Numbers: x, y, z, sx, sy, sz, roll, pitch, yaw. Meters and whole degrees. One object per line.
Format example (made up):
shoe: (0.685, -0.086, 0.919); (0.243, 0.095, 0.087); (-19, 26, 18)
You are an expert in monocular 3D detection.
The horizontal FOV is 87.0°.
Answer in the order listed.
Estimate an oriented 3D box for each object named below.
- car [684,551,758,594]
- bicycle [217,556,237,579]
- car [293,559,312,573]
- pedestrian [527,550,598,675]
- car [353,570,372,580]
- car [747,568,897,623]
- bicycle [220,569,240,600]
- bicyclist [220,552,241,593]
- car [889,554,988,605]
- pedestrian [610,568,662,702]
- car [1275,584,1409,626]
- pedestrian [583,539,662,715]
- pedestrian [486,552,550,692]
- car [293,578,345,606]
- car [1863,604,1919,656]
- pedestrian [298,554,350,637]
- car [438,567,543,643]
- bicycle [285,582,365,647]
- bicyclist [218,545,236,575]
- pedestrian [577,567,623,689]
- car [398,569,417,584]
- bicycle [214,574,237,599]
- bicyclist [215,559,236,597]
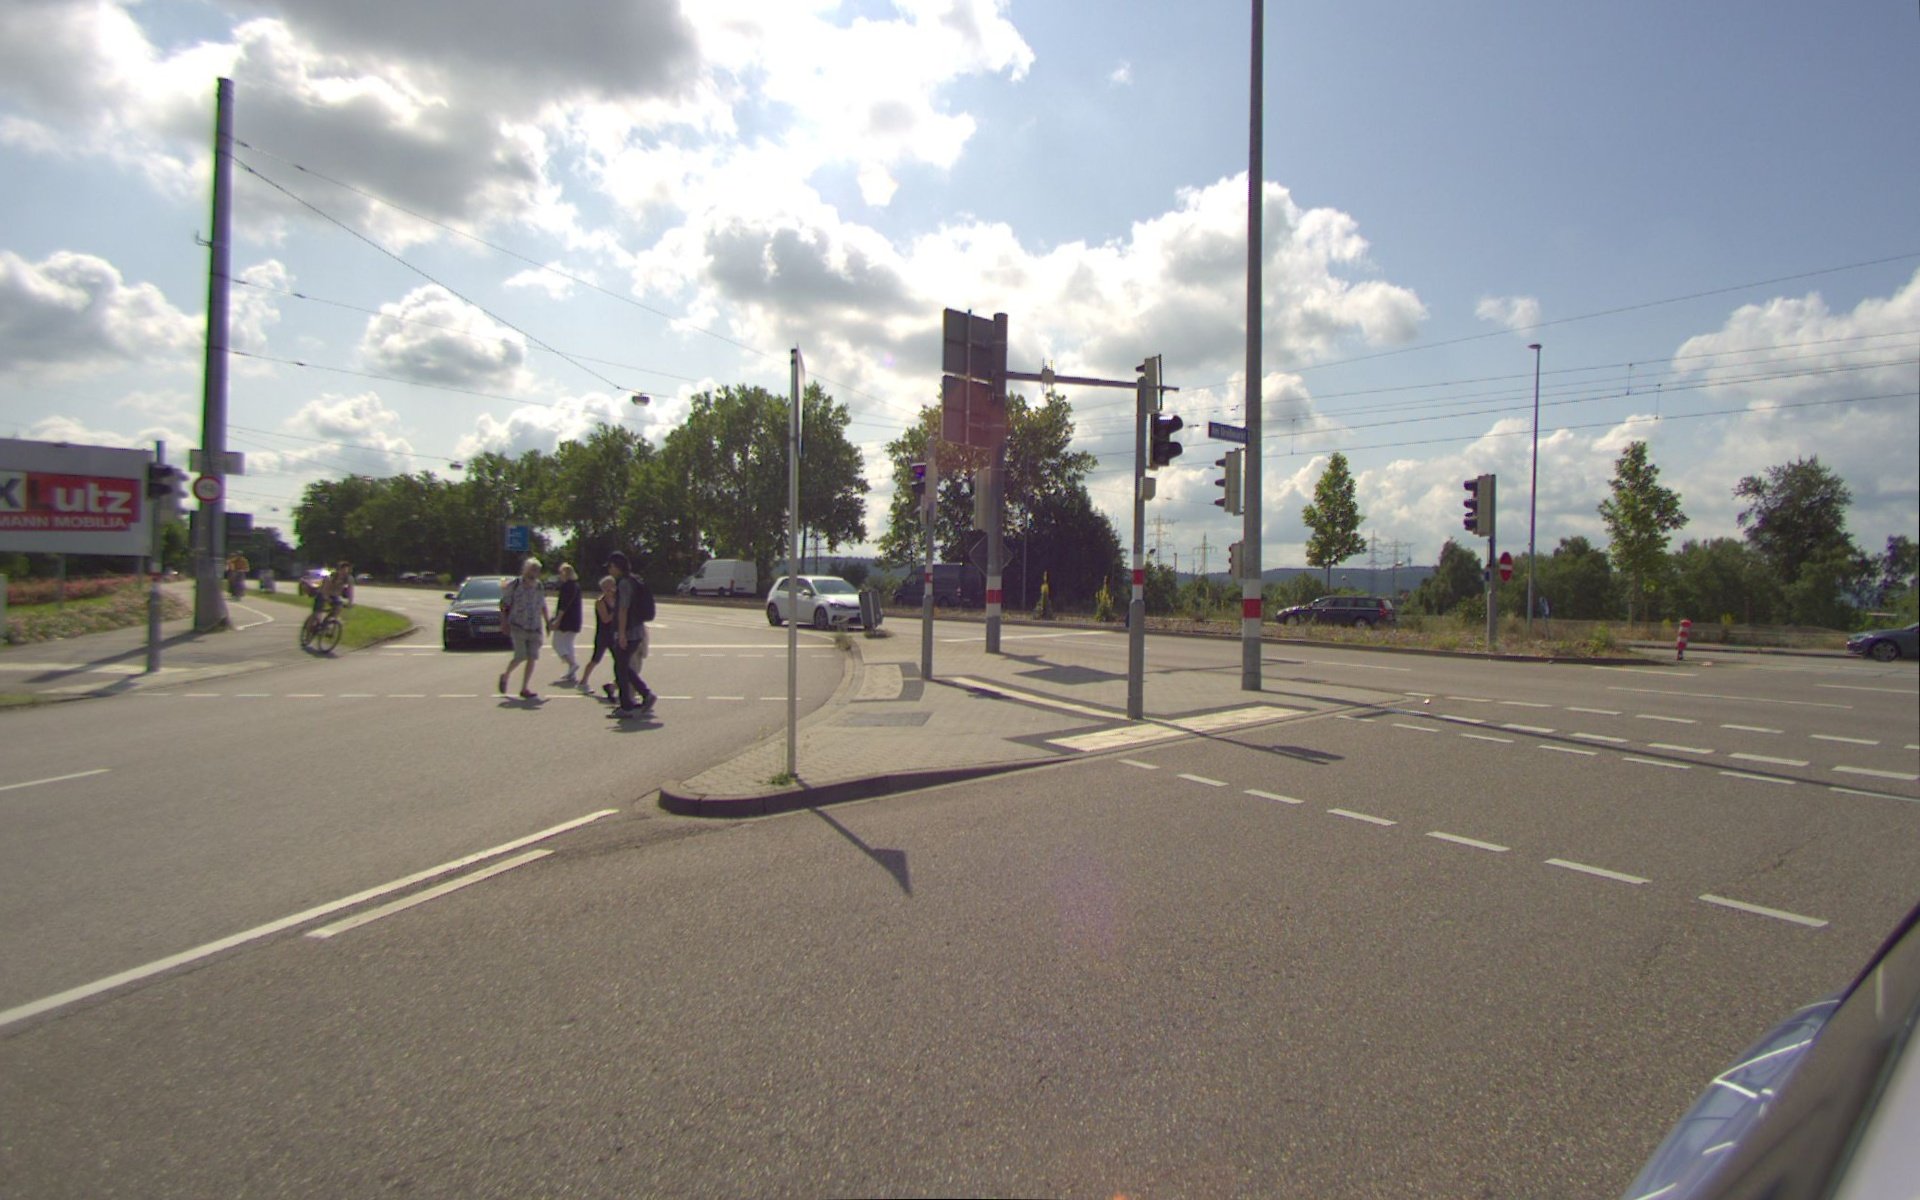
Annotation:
car: (-15.483, -1.809, 65.364); (5.575, 2.523, 1.928); (4, 1, 45)
bicycle: (-33.104, -1.471, 45.703); (0.585, 0.973, 1.988); (1, -1, -33)
car: (-125.983, -6.520, 193.857); (2.113, 2.388, 5.469); (1, 0, -43)
pedestrian: (-5.840, 0.161, 14.920); (0.848, 1.787, 0.865); (1, 2, -13)
car: (-91.881, -3.800, 155.592); (1.901, 1.382, 3.736); (1, -1, -42)
car: (-3.935, -0.162, 28.350); (1.980, 1.430, 4.488); (0, 1, -43)
bicycle: (-28.115, -0.592, 38.985); (0.609, 1.180, 1.504); (1, -1, -35)
bicyclist: (-28.114, -1.052, 39.010); (0.609, 1.555, 0.697); (1, -1, -36)
car: (-1.262, -1.184, 56.565); (5.654, 2.638, 1.962); (2, -1, 42)
pedestrian: (-3.848, 0.401, 12.009); (0.460, 1.543, 0.557); (1, -1, -31)
car: (15.529, 0.196, 41.252); (4.756, 1.527, 1.940); (2, -1, 37)
pedestrian: (-3.656, 0.276, 11.023); (0.744, 1.825, 0.823); (0, 0, -13)
pedestrian: (-5.744, 0.260, 13.146); (0.686, 1.749, 0.690); (-1, 1, -29)
car: (-32.594, -0.430, 51.418); (1.718, 1.377, 4.244); (-1, 1, -40)
car: (29.111, 0.896, 29.551); (4.054, 1.465, 1.704); (1, 2, 42)
pedestrian: (-12.456, -0.099, 19.819); (0.679, 1.555, 0.502); (5, 1, 26)
car: (-10.175, 0.029, 22.186); (1.876, 1.501, 4.211); (0, 2, -22)
bicycle: (-12.445, 0.283, 19.821); (1.681, 1.060, 0.502); (7, 1, 29)
bicyclist: (-33.042, -1.803, 45.634); (0.581, 1.342, 0.687); (1, -1, -33)
pedestrian: (-4.684, 0.348, 13.165); (0.460, 1.543, 0.586); (0, 1, -31)
car: (-73.227, -3.072, 134.190); (1.772, 1.883, 3.593); (1, -1, -36)
bicycle: (-29.844, -0.533, 41.095); (0.654, 0.973, 1.694); (1, -1, -39)
bicyclist: (-29.870, -0.880, 41.139); (0.639, 1.494, 0.742); (1, -1, -39)
